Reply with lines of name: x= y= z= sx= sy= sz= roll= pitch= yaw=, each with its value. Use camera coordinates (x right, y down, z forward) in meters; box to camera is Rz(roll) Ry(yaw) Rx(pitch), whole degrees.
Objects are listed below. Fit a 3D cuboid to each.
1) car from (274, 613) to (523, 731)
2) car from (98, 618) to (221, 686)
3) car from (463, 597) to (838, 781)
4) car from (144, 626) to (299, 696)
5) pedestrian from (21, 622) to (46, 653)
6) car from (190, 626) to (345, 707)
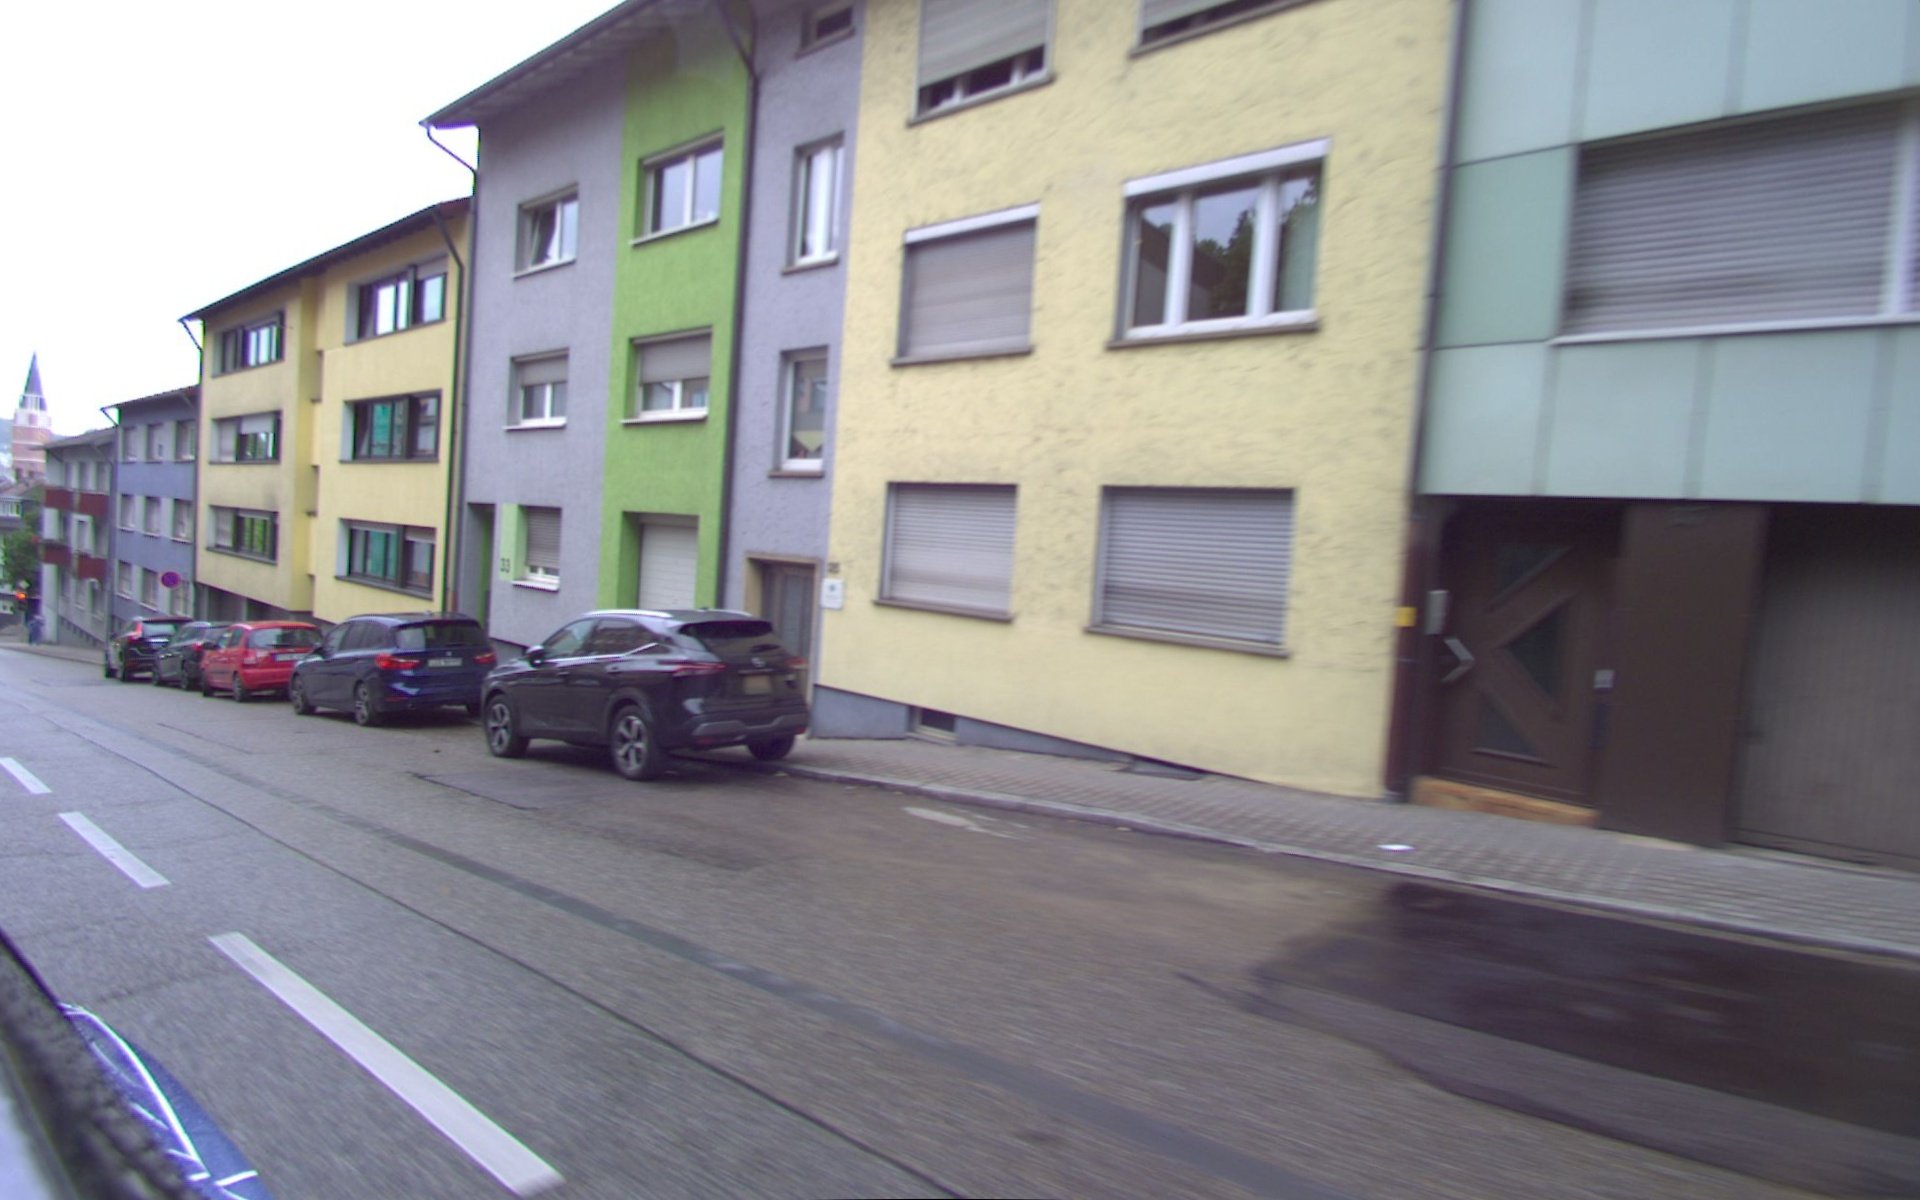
car: x=-8.896 y=1.040 z=15.894 sx=4.468 sy=1.597 sz=1.973 roll=-2 pitch=-2 yaw=40
car: x=-21.407 y=1.332 z=27.014 sx=4.442 sy=1.662 sz=1.971 roll=-2 pitch=-2 yaw=44
car: x=-3.442 y=0.835 z=10.867 sx=4.302 sy=1.597 sz=1.834 roll=-2 pitch=-2 yaw=40
car: x=-17.360 y=1.366 z=23.712 sx=4.345 sy=1.483 sz=1.973 roll=-2 pitch=-2 yaw=40
pedestrian: x=-49.945 y=2.034 z=54.553 sx=1.086 sy=1.553 sz=0.860 roll=-7 pitch=-4 yaw=40
car: x=-13.897 y=1.272 z=20.258 sx=3.488 sy=1.483 sz=1.711 roll=-2 pitch=-2 yaw=40
